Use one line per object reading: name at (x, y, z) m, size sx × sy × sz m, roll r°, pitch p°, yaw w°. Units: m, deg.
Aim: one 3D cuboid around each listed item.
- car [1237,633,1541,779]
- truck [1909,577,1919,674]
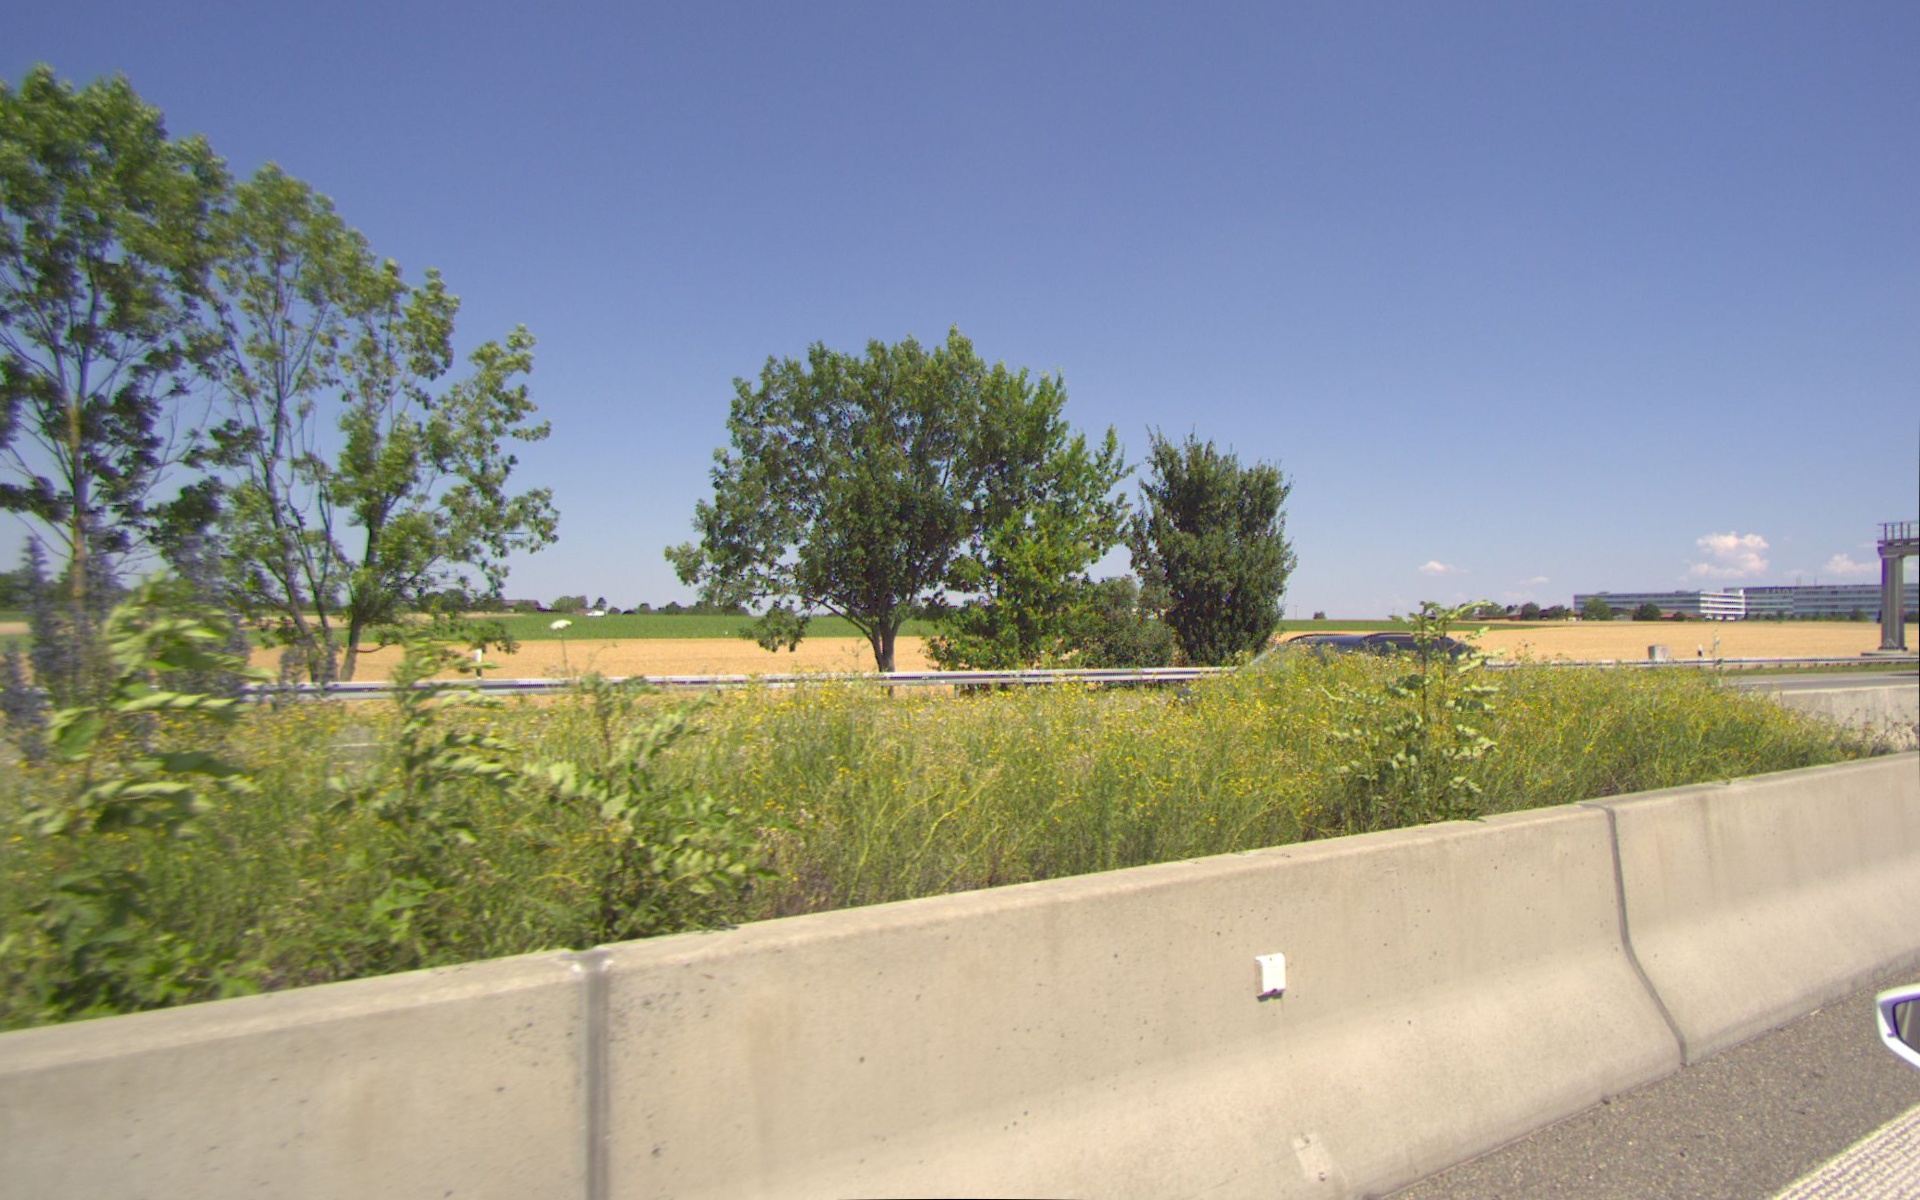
car at (5.257, 1.171, 12.190) m, size 3.730 × 1.506 × 1.532 m, roll 1°, pitch -1°, yaw -31°
truck at (44.795, 1.123, 44.236) m, size 5.408 × 4.212 × 2.936 m, roll 1°, pitch -3°, yaw -31°
